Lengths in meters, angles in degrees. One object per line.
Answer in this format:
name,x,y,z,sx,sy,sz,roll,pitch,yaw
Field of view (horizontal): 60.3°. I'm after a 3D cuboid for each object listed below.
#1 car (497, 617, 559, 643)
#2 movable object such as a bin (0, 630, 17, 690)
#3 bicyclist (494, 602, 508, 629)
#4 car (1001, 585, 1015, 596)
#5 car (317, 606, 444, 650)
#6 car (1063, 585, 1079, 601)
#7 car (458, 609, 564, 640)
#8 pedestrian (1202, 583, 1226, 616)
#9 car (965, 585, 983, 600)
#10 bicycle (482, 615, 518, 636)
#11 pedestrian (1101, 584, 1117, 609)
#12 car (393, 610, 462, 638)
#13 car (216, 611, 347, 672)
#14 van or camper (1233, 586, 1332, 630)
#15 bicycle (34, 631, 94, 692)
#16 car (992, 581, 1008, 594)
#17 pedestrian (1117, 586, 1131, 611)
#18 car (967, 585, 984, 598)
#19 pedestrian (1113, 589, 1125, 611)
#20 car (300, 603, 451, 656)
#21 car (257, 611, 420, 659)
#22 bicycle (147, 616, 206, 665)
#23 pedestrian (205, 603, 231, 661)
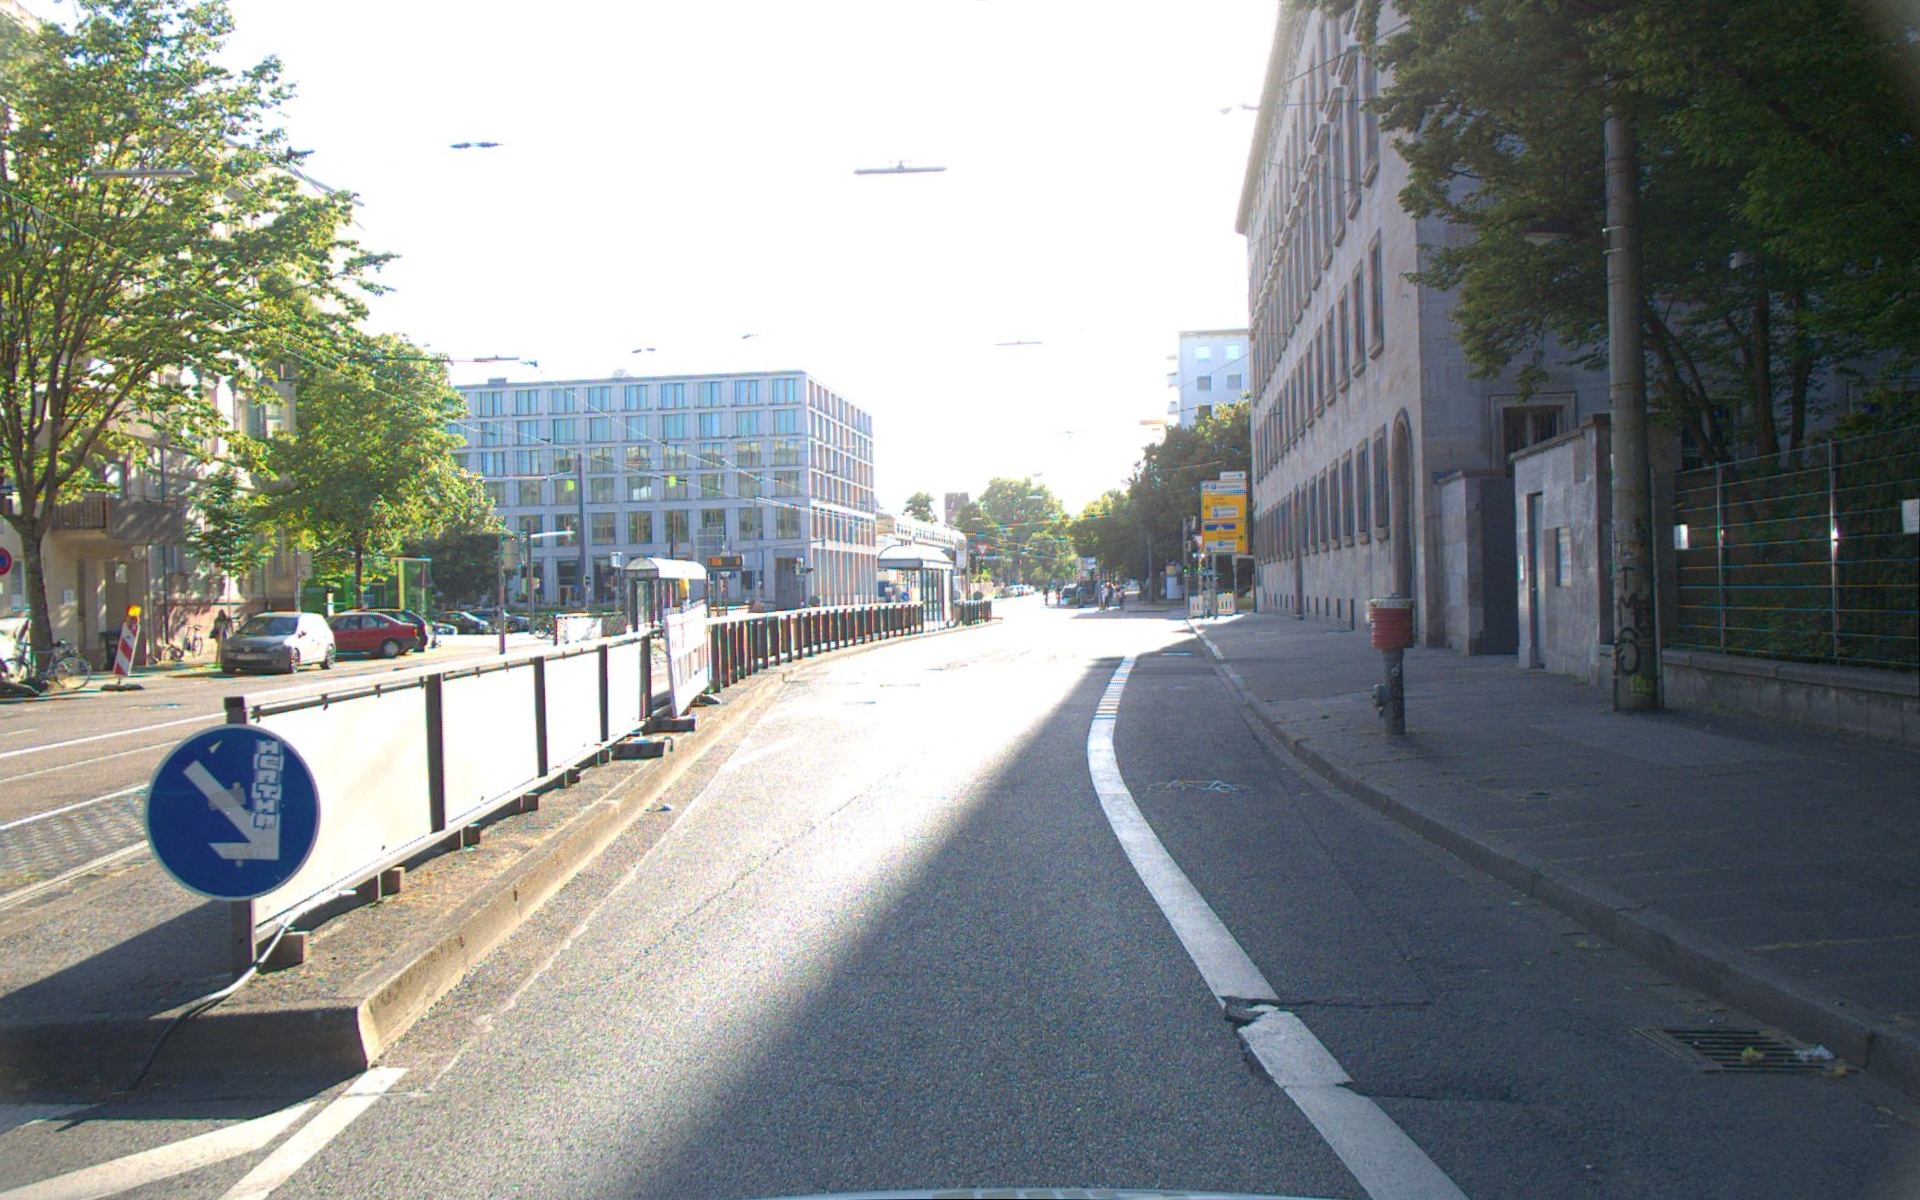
car,-27.245,1.874,104.362,3.455,1.532,1.523,-1,0,5
movable object such as a bin,-18.661,1.164,31.775,0.417,1.146,1.147,-2,0,0
bicyclist,-27.266,0.909,98.263,0.605,1.610,0.594,-2,0,5
car,6.881,-1.304,237.854,1.575,1.524,3.808,-2,0,7
car,-21.918,1.044,62.575,4.445,1.597,1.577,0,-1,-26
car,12.525,-0.780,186.377,1.648,1.768,3.511,0,-1,7
car,-20.389,1.101,75.087,4.445,1.374,1.577,0,-1,-26
pedestrian,13.872,-0.034,90.254,1.019,1.751,1.034,-2,0,-4
car,1.833,-0.972,211.579,1.781,1.742,3.808,-2,0,7
bicycle,-27.302,1.520,98.209,1.882,1.142,0.791,-2,0,6
pedestrian,10.924,-0.249,121.020,0.948,1.815,0.778,-2,0,-9
car,-30.869,1.392,95.964,3.455,1.532,1.523,-1,0,5
car,-17.245,1.026,42.263,1.671,1.435,4.290,0,0,-2
van or camper,22.082,0.551,113.373,6.565,2.912,2.913,0,-1,12
bicycle,-17.526,1.191,32.383,0.258,1.136,1.406,-2,0,6
car,5.655,-1.721,234.068,1.781,1.742,3.808,-2,0,7
pedestrian,12.105,-0.121,122.018,0.832,1.815,0.778,-2,0,-9
car,2.091,-1.176,222.419,1.781,1.742,3.808,-2,0,7
pedestrian,11.819,-0.021,122.741,0.748,1.586,0.586,-2,0,-9
car,-19.286,0.955,54.671,4.471,1.670,1.568,0,-1,-39
car,-19.398,1.077,51.701,4.467,1.450,1.848,0,-1,-37
bicycle,-24.094,1.221,50.939,0.703,1.422,3.005,-2,0,-7
pedestrian,-22.059,0.956,49.195,0.500,1.700,0.490,-2,0,0
